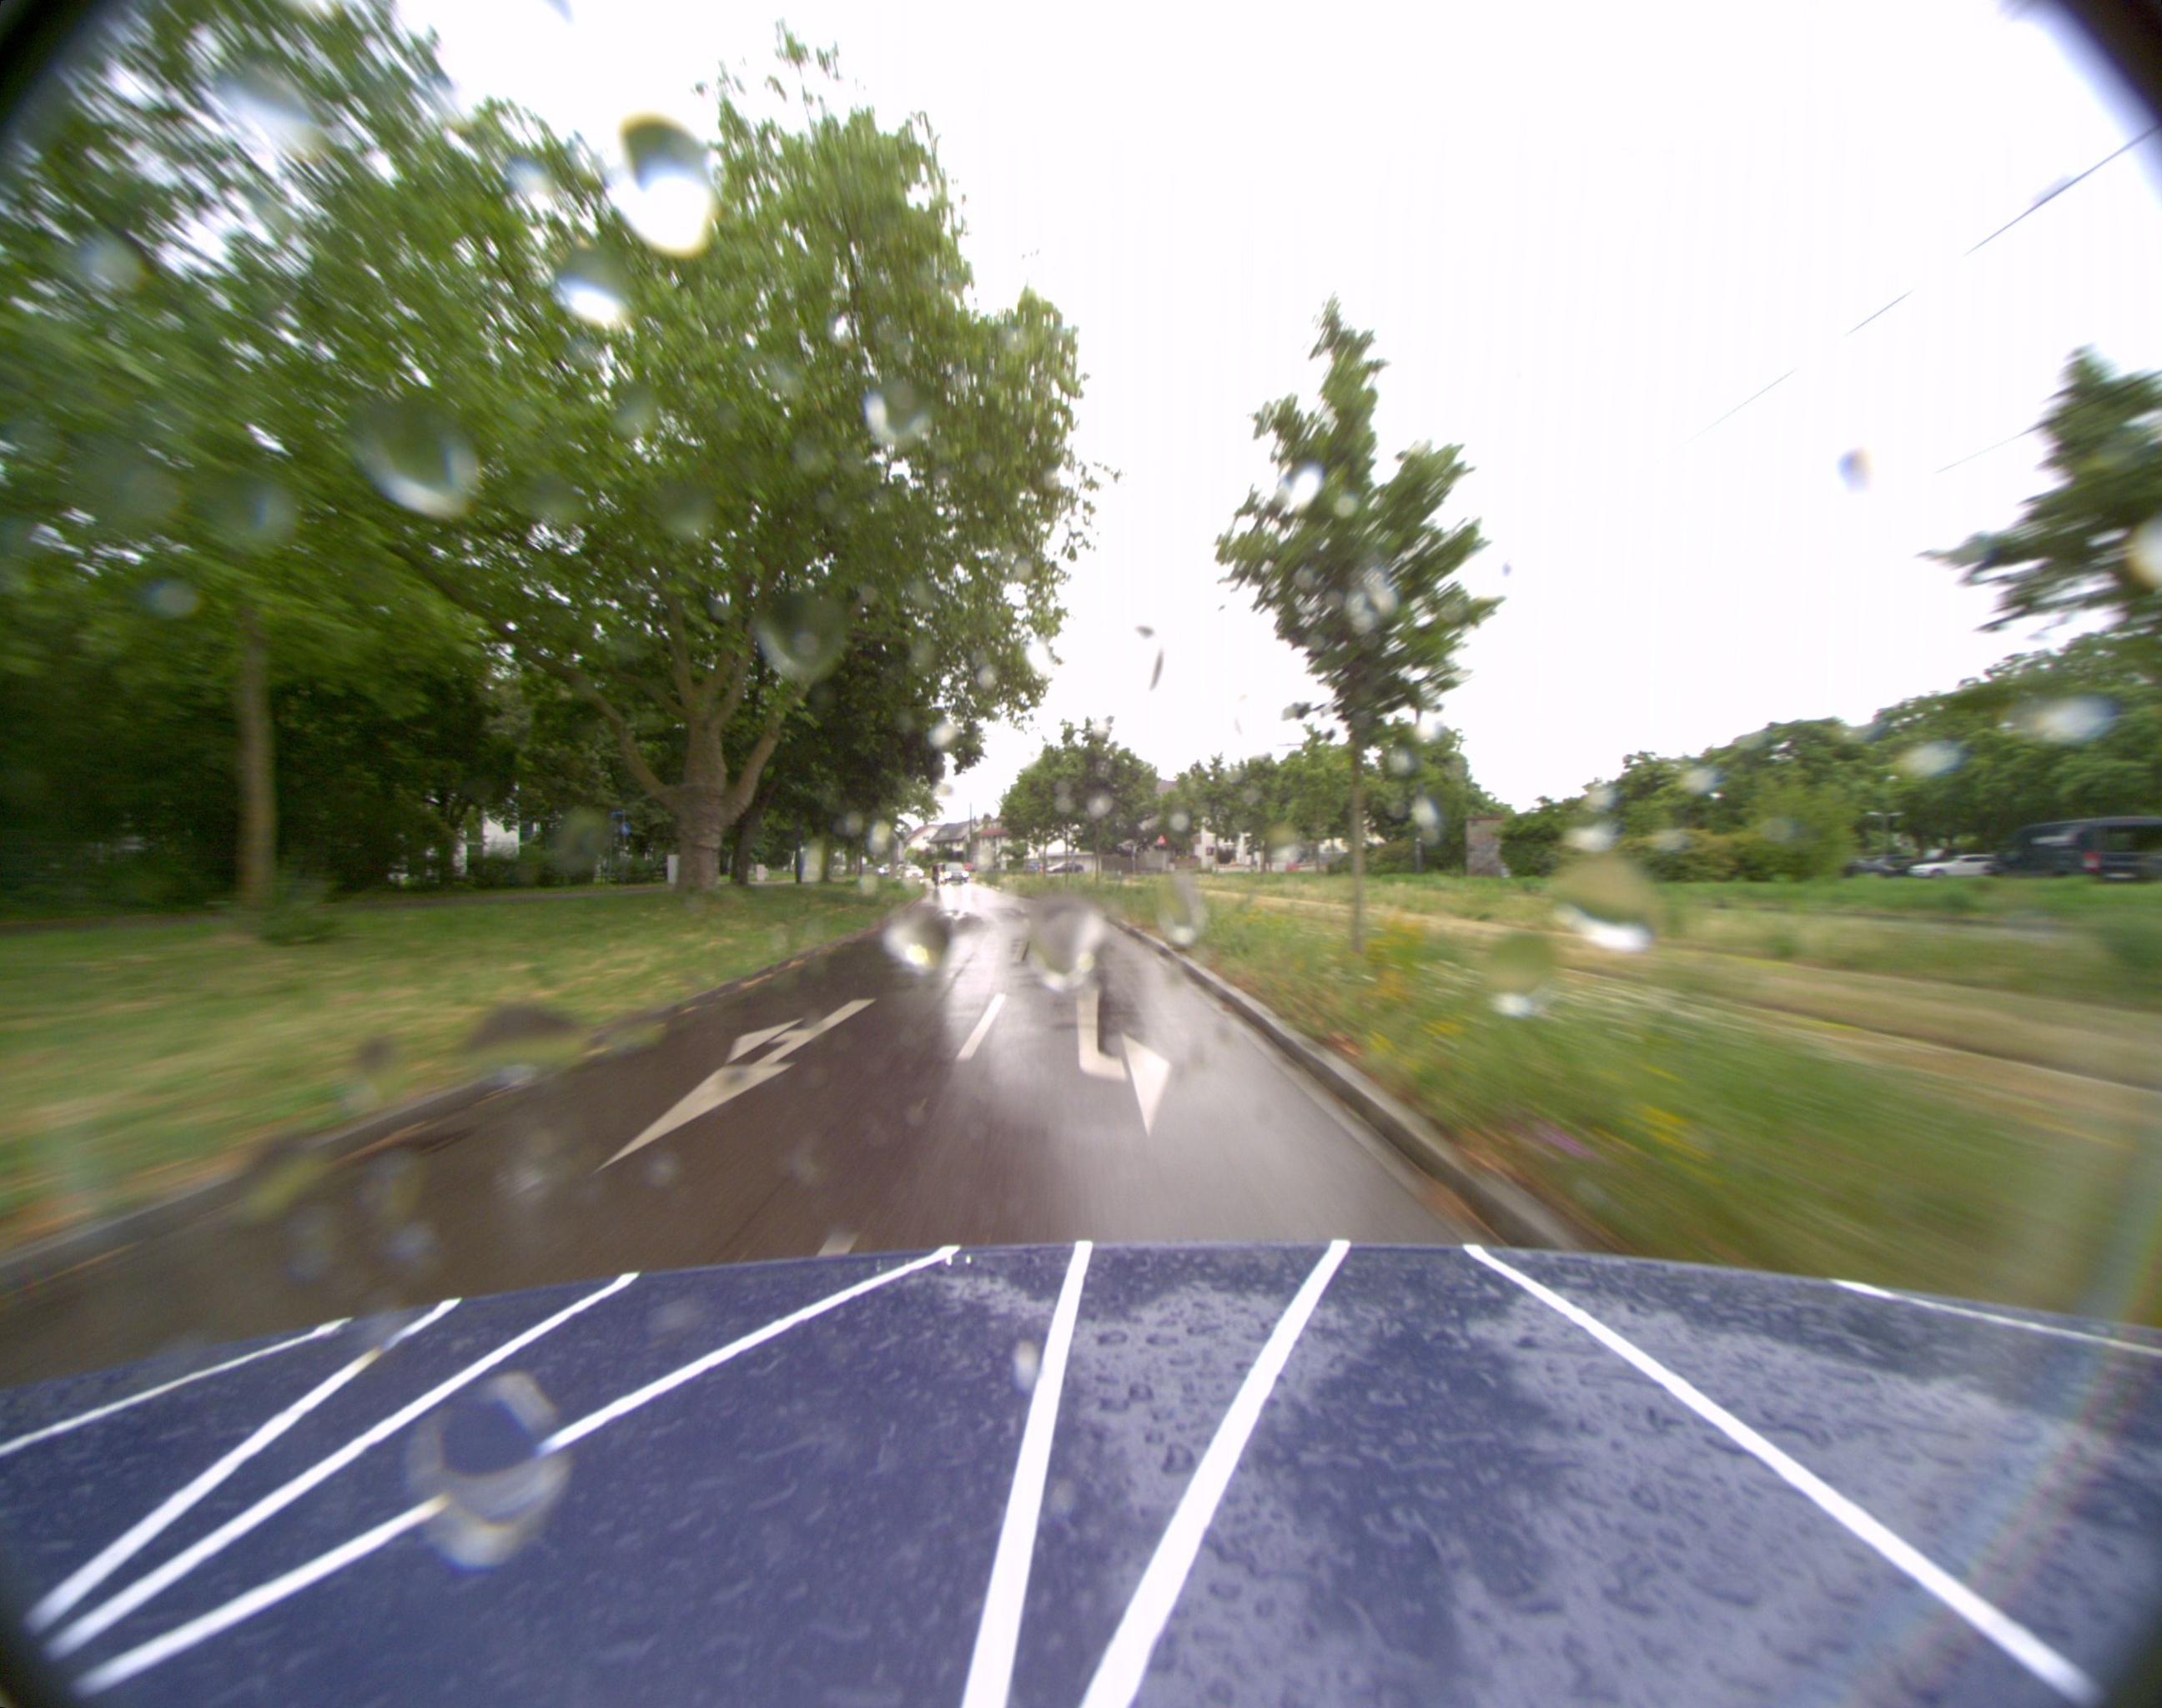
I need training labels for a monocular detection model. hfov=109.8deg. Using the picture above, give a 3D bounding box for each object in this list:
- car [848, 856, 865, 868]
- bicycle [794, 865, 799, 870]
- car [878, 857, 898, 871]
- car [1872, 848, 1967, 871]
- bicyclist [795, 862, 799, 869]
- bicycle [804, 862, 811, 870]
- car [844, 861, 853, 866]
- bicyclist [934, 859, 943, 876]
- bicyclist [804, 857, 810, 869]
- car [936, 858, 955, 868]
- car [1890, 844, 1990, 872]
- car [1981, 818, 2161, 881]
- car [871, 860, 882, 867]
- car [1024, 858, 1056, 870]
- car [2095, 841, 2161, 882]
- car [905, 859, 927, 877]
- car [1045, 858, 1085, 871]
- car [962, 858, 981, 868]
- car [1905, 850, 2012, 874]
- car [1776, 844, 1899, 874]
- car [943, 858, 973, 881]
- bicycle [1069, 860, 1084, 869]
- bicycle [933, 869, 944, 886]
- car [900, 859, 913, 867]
[{"bbox_3d":[-33.743,1.238,114.158,1.771,1.715,3.925,0,0,-28],"label":"car"},{"bbox_3d":[-40.316,1.924,107.723,0.489,0.704,1.455,-1,0,-17],"label":"bicycle"},{"bbox_3d":[-24.536,1.312,96.746,1.771,1.715,3.926,0,0,-25],"label":"car"},{"bbox_3d":[57.344,0.379,52.070,4.052,1.564,1.693,-1,0,21],"label":"car"},{"bbox_3d":[-40.311,1.652,107.711,0.489,1.032,0.590,-1,1,-17],"label":"bicyclist"},{"bbox_3d":[-39.017,1.731,108.318,0.714,1.136,1.969,-1,1,-15],"label":"bicycle"},{"bbox_3d":[-65.411,2.684,213.408,1.762,1.507,3.846,-4,1,-26],"label":"car"},{"bbox_3d":[-9.365,0.875,49.933,0.622,1.078,0.624,0,1,-11],"label":"bicyclist"},{"bbox_3d":[-39.018,1.317,108.279,0.714,1.711,0.956,-1,2,-15],"label":"bicyclist"},{"bbox_3d":[-23.225,1.572,130.162,2.002,1.604,4.674,-2,0,-25],"label":"car"},{"bbox_3d":[56.354,0.276,49.924,4.052,1.811,1.693,-1,0,21],"label":"car"},{"bbox_3d":[33.760,-0.125,25.947,2.032,1.936,4.723,0,0,23],"label":"car"},{"bbox_3d":[-49.489,2.298,183.926,1.762,1.507,3.846,-4,1,-26],"label":"car"},{"bbox_3d":[-5.566,1.327,103.163,4.005,1.567,1.889,-1,0,-26],"label":"car"},{"bbox_3d":[36.518,0.256,25.211,1.832,1.331,4.105,0,0,27],"label":"car"},{"bbox_3d":[-16.960,1.389,78.030,1.770,1.715,3.928,-2,1,-18],"label":"car"},{"bbox_3d":[-2.019,1.313,95.729,4.746,1.357,1.844,-2,0,-23],"label":"car"},{"bbox_3d":[-17.008,1.394,118.147,1.849,1.538,3.965,-4,1,-24],"label":"car"},{"bbox_3d":[54.911,0.481,47.629,4.052,1.426,1.693,-1,0,21],"label":"car"},{"bbox_3d":[37.610,0.242,37.920,4.051,1.426,1.694,-1,0,31],"label":"car"},{"bbox_3d":[-9.984,1.211,61.409,1.770,1.715,3.928,-3,0,-18],"label":"car"},{"bbox_3d":[-0.531,1.300,90.422,1.836,1.013,0.483,-2,3,40],"label":"bicycle"},{"bbox_3d":[-9.355,1.518,49.895,0.660,1.008,2.255,0,0,-11],"label":"bicycle"},{"bbox_3d":[-36.284,1.885,157.817,1.721,1.520,3.593,-4,1,-26],"label":"car"}]
